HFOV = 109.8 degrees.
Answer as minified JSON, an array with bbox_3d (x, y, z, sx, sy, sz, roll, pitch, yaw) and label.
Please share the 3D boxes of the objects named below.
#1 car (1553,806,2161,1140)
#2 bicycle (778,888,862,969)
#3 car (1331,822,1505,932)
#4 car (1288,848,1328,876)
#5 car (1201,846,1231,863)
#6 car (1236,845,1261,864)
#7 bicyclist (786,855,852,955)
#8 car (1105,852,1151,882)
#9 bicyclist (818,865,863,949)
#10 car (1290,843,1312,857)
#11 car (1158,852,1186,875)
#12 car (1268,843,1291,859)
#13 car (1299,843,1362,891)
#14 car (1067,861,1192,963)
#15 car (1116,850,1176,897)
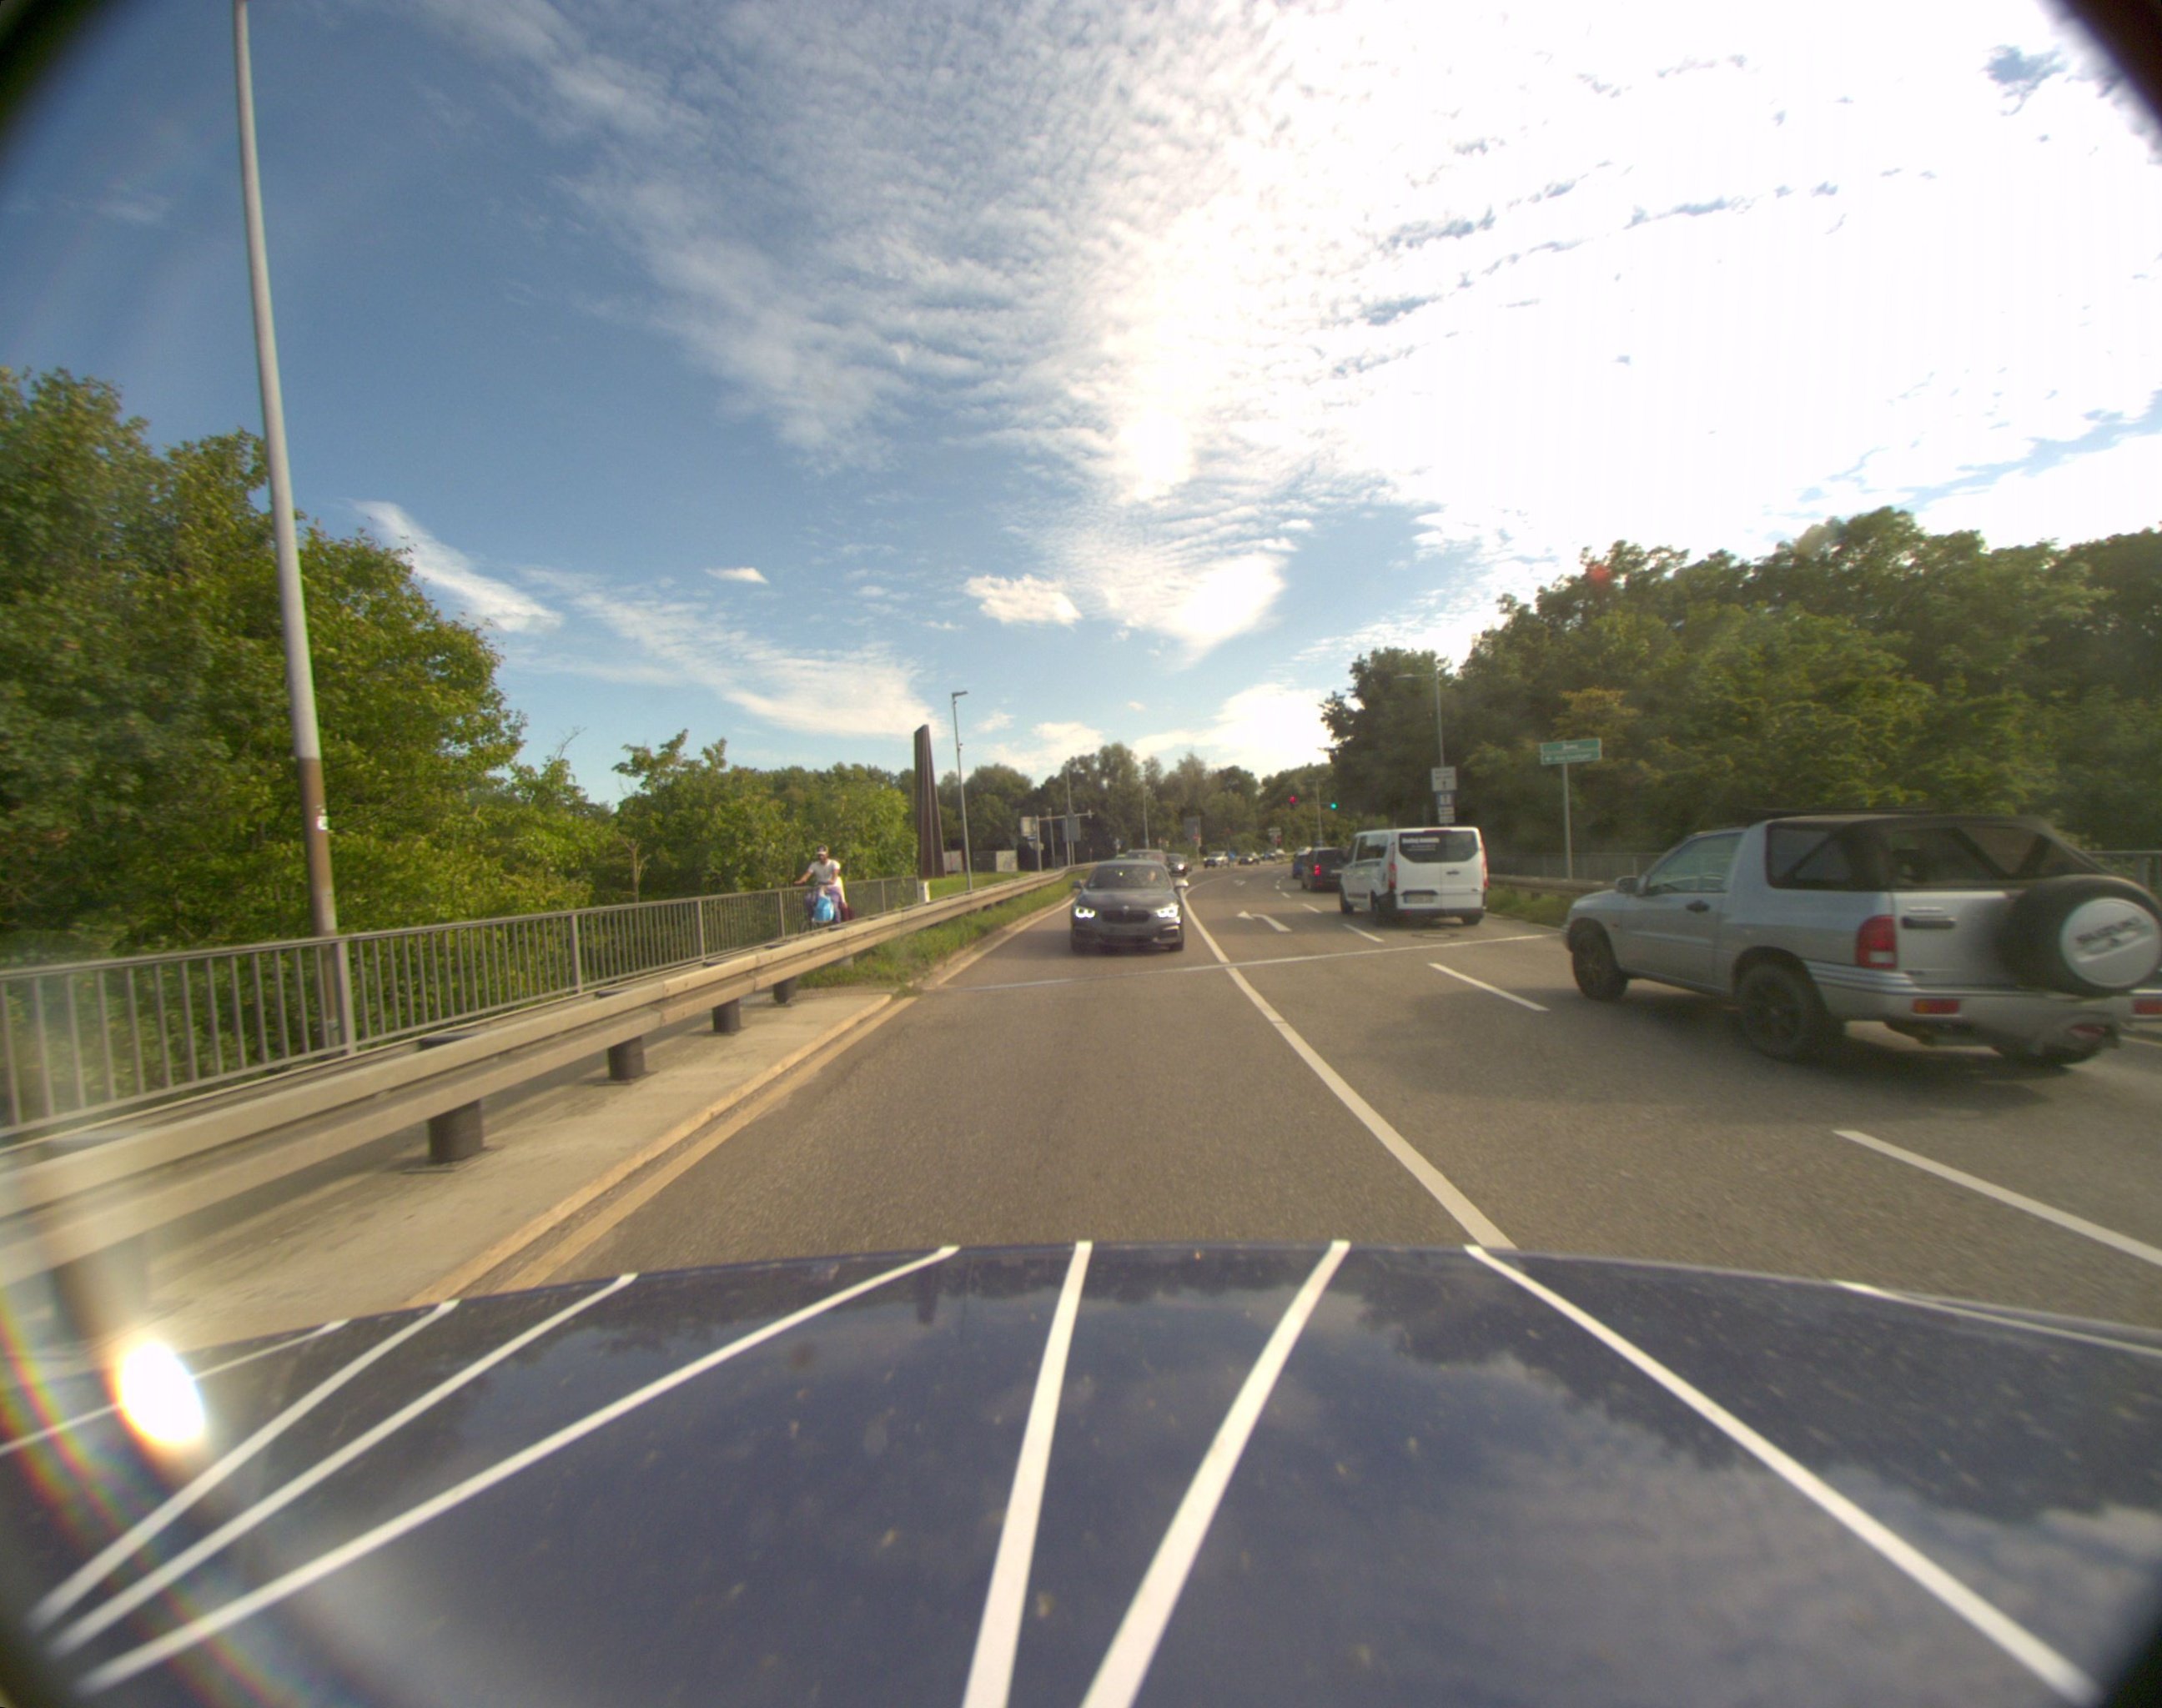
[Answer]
[{"bbox_3d":[5.595,0.615,5.861,1.777,1.736,3.838,-1,0,5],"label":"car"},{"bbox_3d":[-4.165,1.160,12.277,0.597,1.114,1.697,-1,1,5],"label":"bicycle"},{"bbox_3d":[6.916,0.399,16.276,1.989,1.953,5.050,-1,0,7],"label":"car"},{"bbox_3d":[12.544,0.414,42.162,1.896,1.439,4.365,-1,0,14],"label":"car"},{"bbox_3d":[13.933,0.075,78.062,1.995,1.591,4.287,-1,1,24],"label":"car"},{"bbox_3d":[19.314,0.055,87.405,1.995,2.002,4.279,-1,1,24],"label":"car"},{"bbox_3d":[-4.224,0.810,12.302,0.708,1.548,0.754,-1,1,5],"label":"bicyclist"},{"bbox_3d":[2.470,0.628,38.934,1.817,1.396,4.394,-1,0,10],"label":"car"},{"bbox_3d":[-4.056,0.885,12.831,0.501,1.364,0.538,-1,1,5],"label":"bicyclist"},{"bbox_3d":[32.243,-0.617,111.215,1.994,2.002,4.007,-1,1,32],"label":"car"},{"bbox_3d":[5.859,0.569,48.689,1.690,1.315,3.786,-1,1,7],"label":"car"},{"bbox_3d":[26.568,-0.379,101.504,1.995,2.002,4.007,-1,1,28],"label":"car"},{"bbox_3d":[9.227,0.433,28.396,1.749,1.645,4.456,-1,0,12],"label":"car"},{"bbox_3d":[0.942,0.870,13.003,1.785,1.396,3.972,-1,0,7],"label":"car"},{"bbox_3d":[2.452,0.651,27.653,1.817,1.498,4.394,-1,0,9],"label":"car"}]
